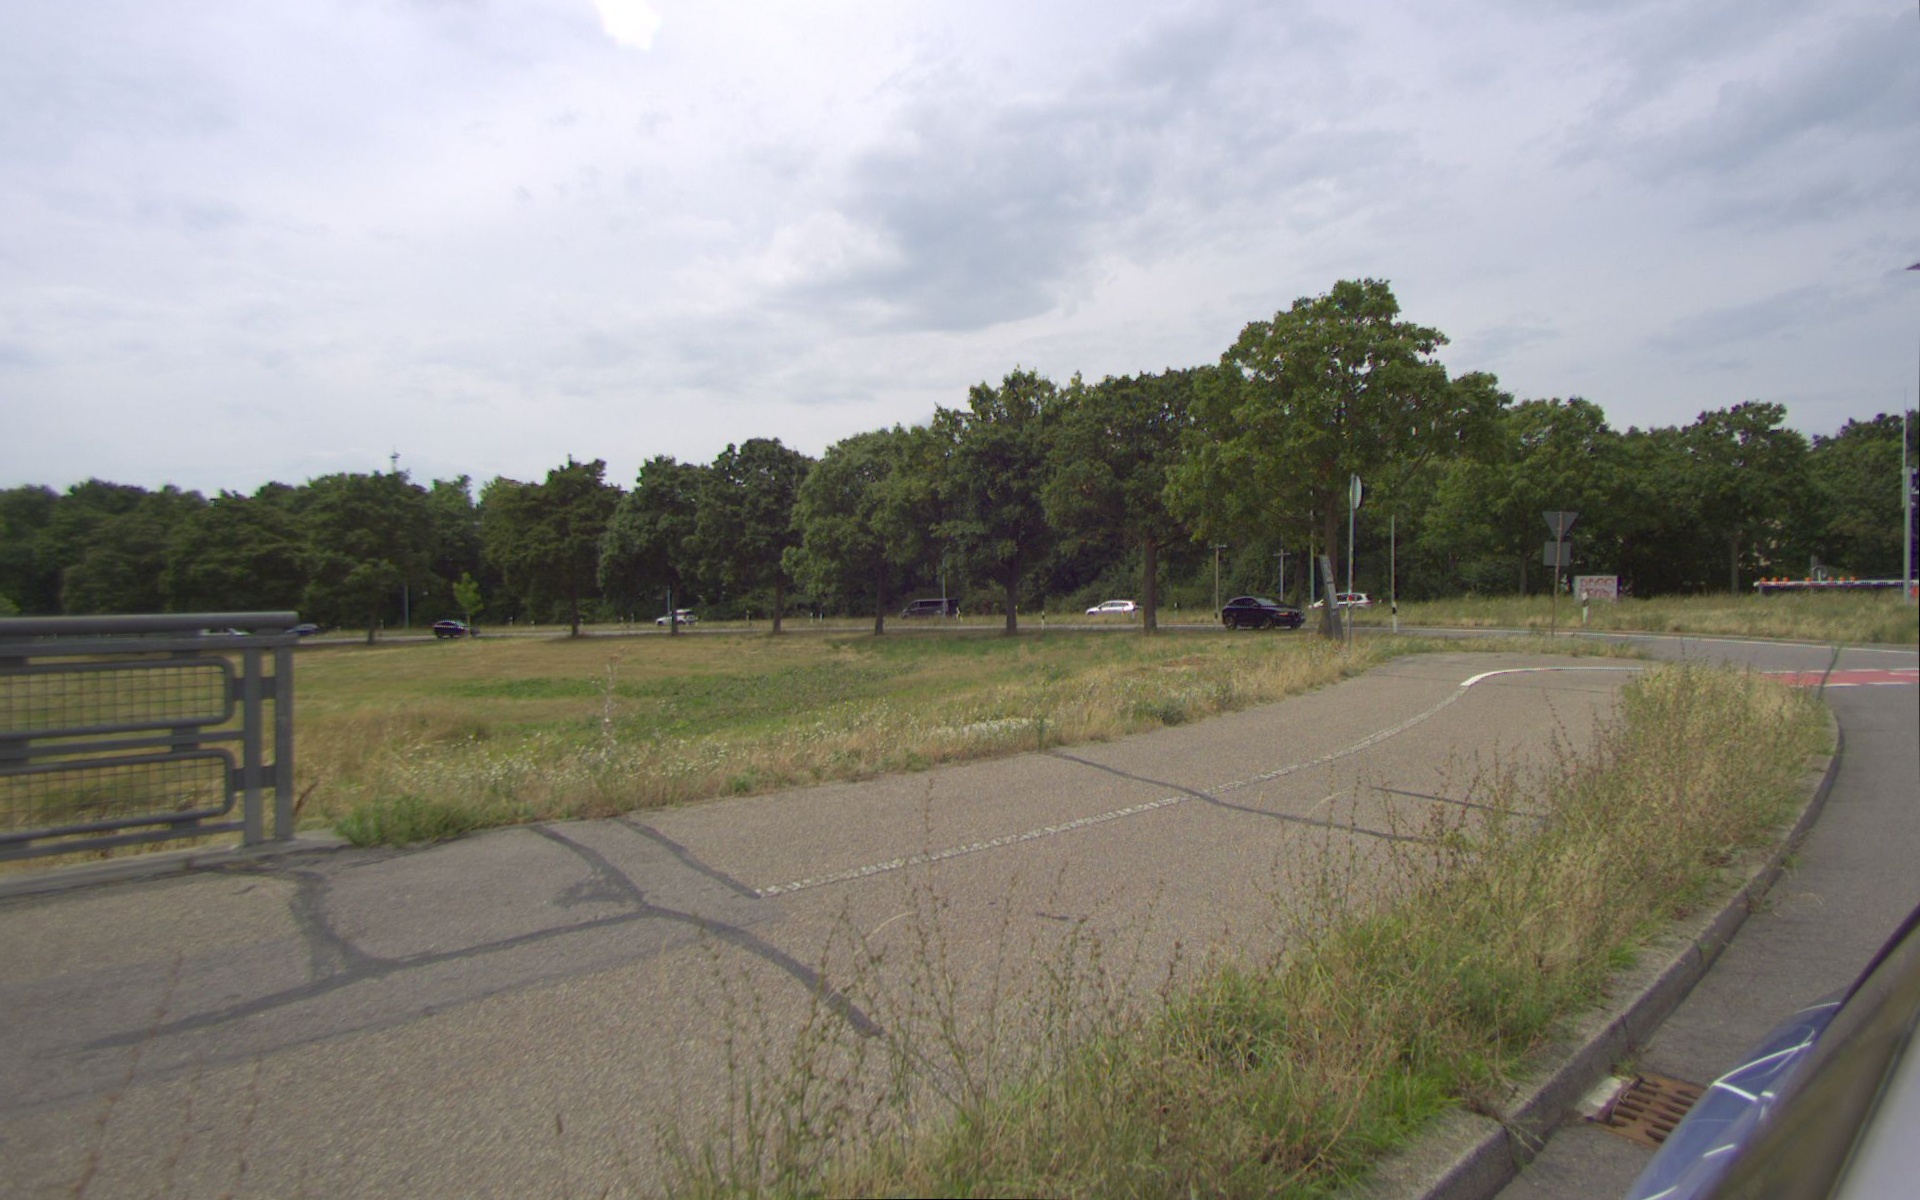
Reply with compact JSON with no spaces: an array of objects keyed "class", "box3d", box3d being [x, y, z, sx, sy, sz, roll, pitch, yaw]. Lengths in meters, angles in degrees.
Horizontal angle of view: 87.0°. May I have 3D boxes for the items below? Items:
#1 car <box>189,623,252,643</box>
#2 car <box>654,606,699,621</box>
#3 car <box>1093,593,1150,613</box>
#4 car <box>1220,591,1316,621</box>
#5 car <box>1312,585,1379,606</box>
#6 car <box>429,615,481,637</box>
[{"class":"car","box3d":[-74.903,3.288,102.574,4.801,1.825,2.004,-1,1,-10]},{"class":"car","box3d":[-27.986,1.288,99.924,3.954,1.415,1.985,0,1,23]},{"class":"car","box3d":[11.432,0.221,71.605,3.667,1.288,1.655,-1,1,41]},{"class":"car","box3d":[14.352,0.265,47.362,1.767,1.299,4.247,-2,1,-29]},{"class":"car","box3d":[23.717,-0.286,62.237,3.650,1.145,1.662,-2,0,29]},{"class":"car","box3d":[-49.500,2.553,99.209,4.410,2.039,1.990,0,1,17]}]
